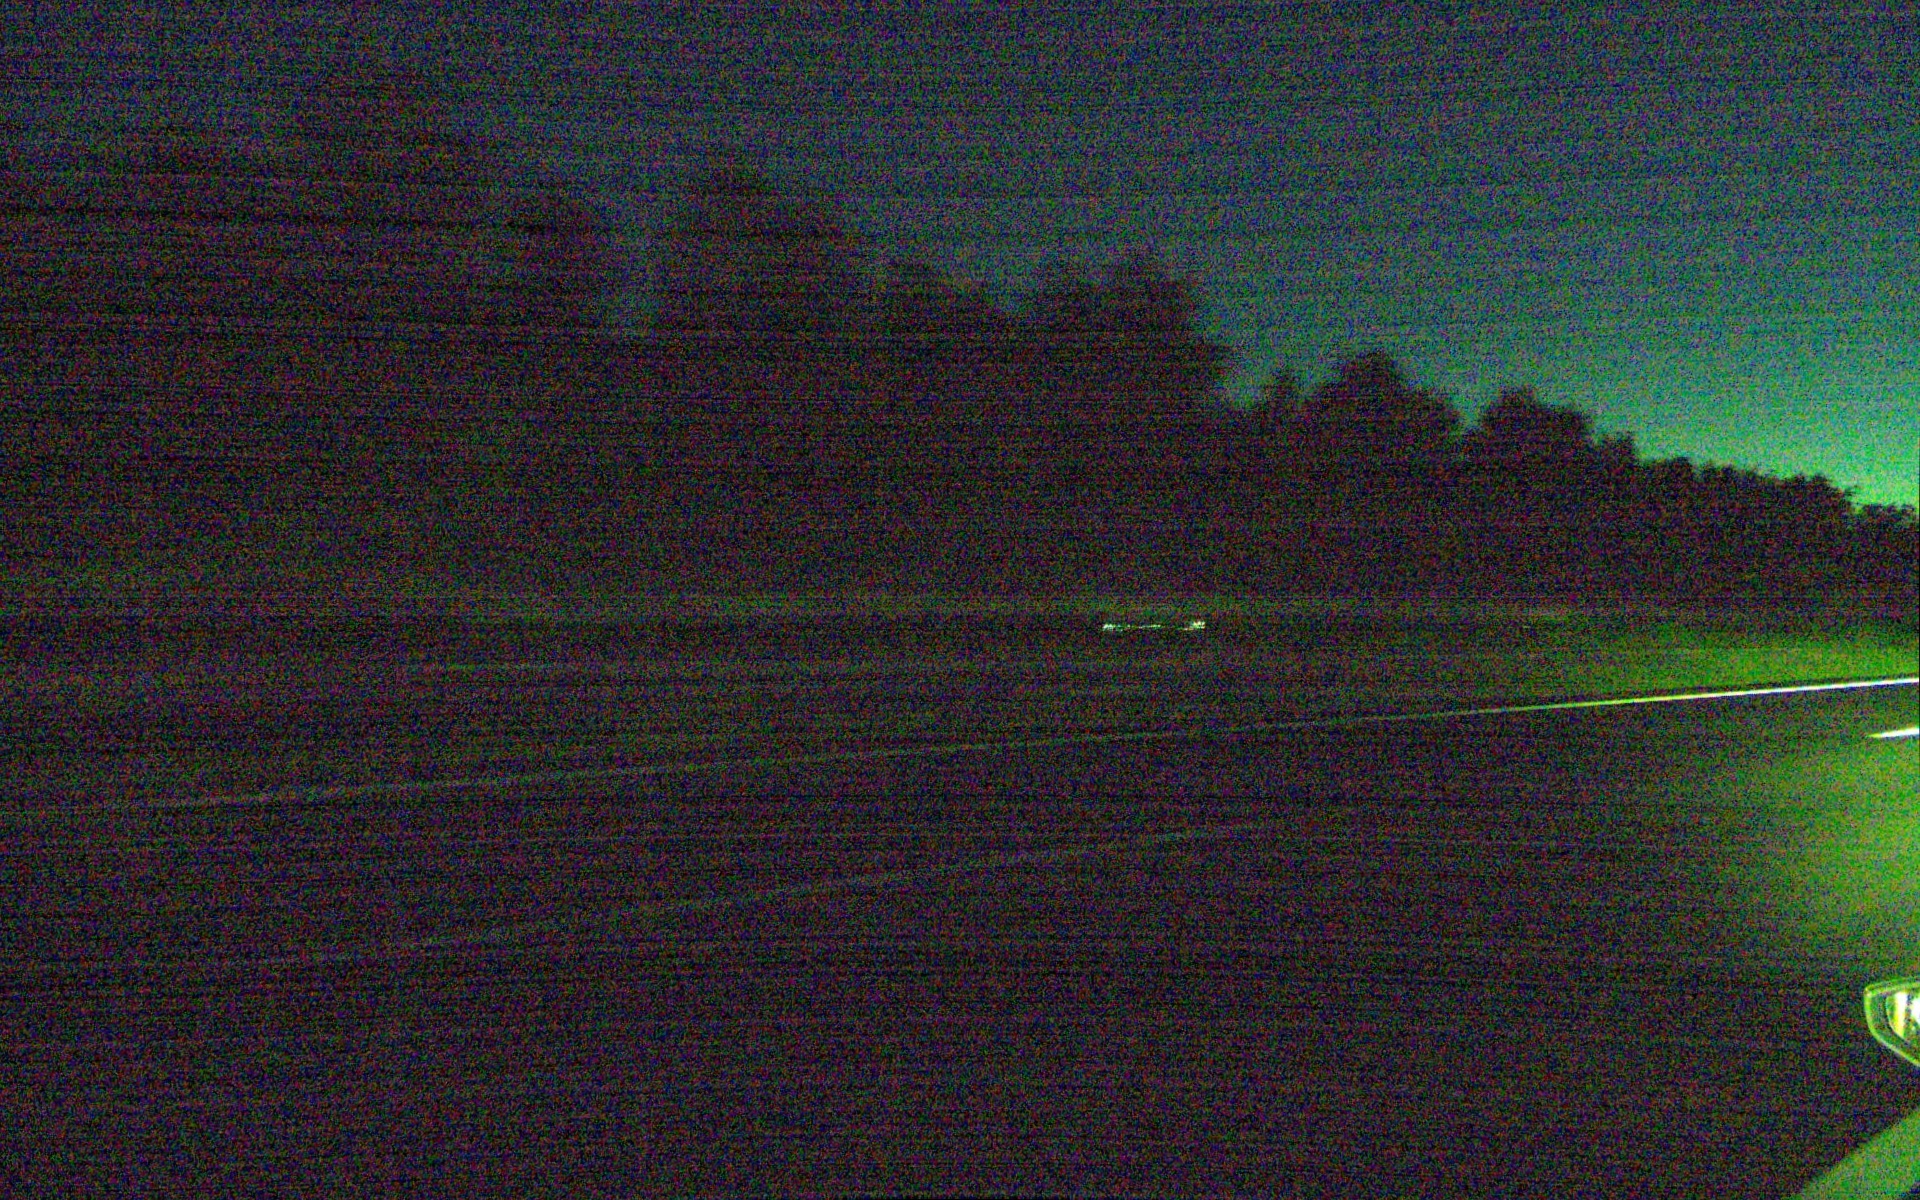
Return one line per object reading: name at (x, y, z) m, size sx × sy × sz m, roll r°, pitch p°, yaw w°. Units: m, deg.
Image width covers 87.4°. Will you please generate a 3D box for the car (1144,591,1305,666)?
car at (7.157, 0.756, 27.132) m, size 4.032 × 1.879 × 1.982 m, roll 1°, pitch 0°, yaw -32°
